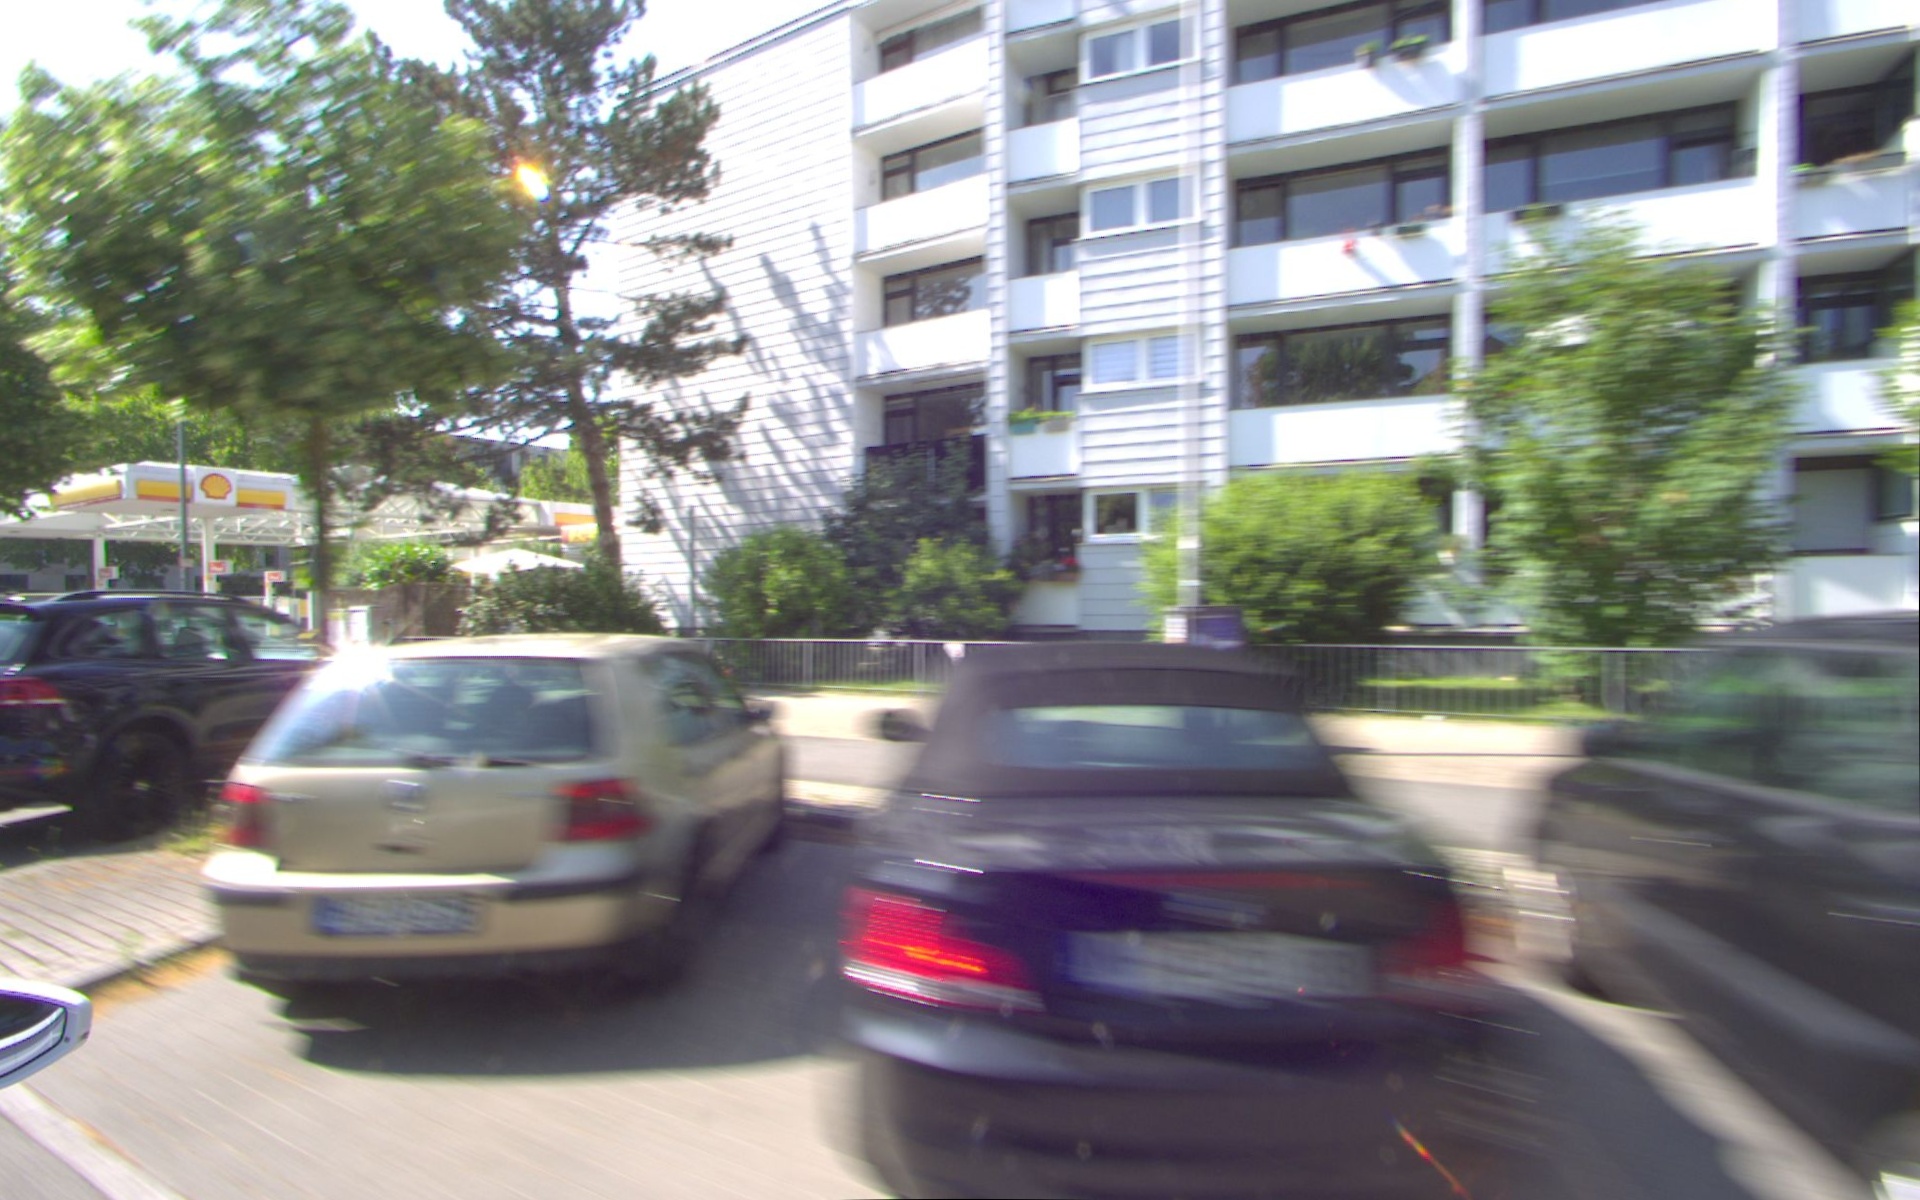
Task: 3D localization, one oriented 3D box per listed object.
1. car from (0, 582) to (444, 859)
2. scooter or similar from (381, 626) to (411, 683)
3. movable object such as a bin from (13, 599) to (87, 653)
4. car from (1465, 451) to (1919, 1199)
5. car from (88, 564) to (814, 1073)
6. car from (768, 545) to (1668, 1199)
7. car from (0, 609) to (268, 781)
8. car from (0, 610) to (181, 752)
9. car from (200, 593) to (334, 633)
[{"bbox_3d":[-6.523,0.748,8.464,1.719,1.682,4.746,-1,0,2],"label":"car"},{"bbox_3d":[-11.986,1.141,21.283,0.946,1.181,0.229,0,1,40],"label":"scooter or similar"},{"bbox_3d":[-29.021,0.818,31.938,1.375,1.614,1.305,0,3,30],"label":"movable object such as a bin"},{"bbox_3d":[2.881,0.551,2.751,1.767,1.661,3.996,-1,0,13],"label":"car"},{"bbox_3d":[-1.960,0.730,5.281,1.719,1.661,4.000,-1,0,1],"label":"car"},{"bbox_3d":[0.484,0.728,3.925,1.719,1.662,3.999,0,0,0],"label":"car"},{"bbox_3d":[-9.218,0.847,10.007,1.734,1.493,4.000,0,0,2],"label":"car"},{"bbox_3d":[-11.491,0.897,11.314,1.961,1.550,4.117,0,0,5],"label":"car"},{"bbox_3d":[-49.396,0.883,71.652,2.858,2.710,7.420,0,1,29],"label":"car"}]
